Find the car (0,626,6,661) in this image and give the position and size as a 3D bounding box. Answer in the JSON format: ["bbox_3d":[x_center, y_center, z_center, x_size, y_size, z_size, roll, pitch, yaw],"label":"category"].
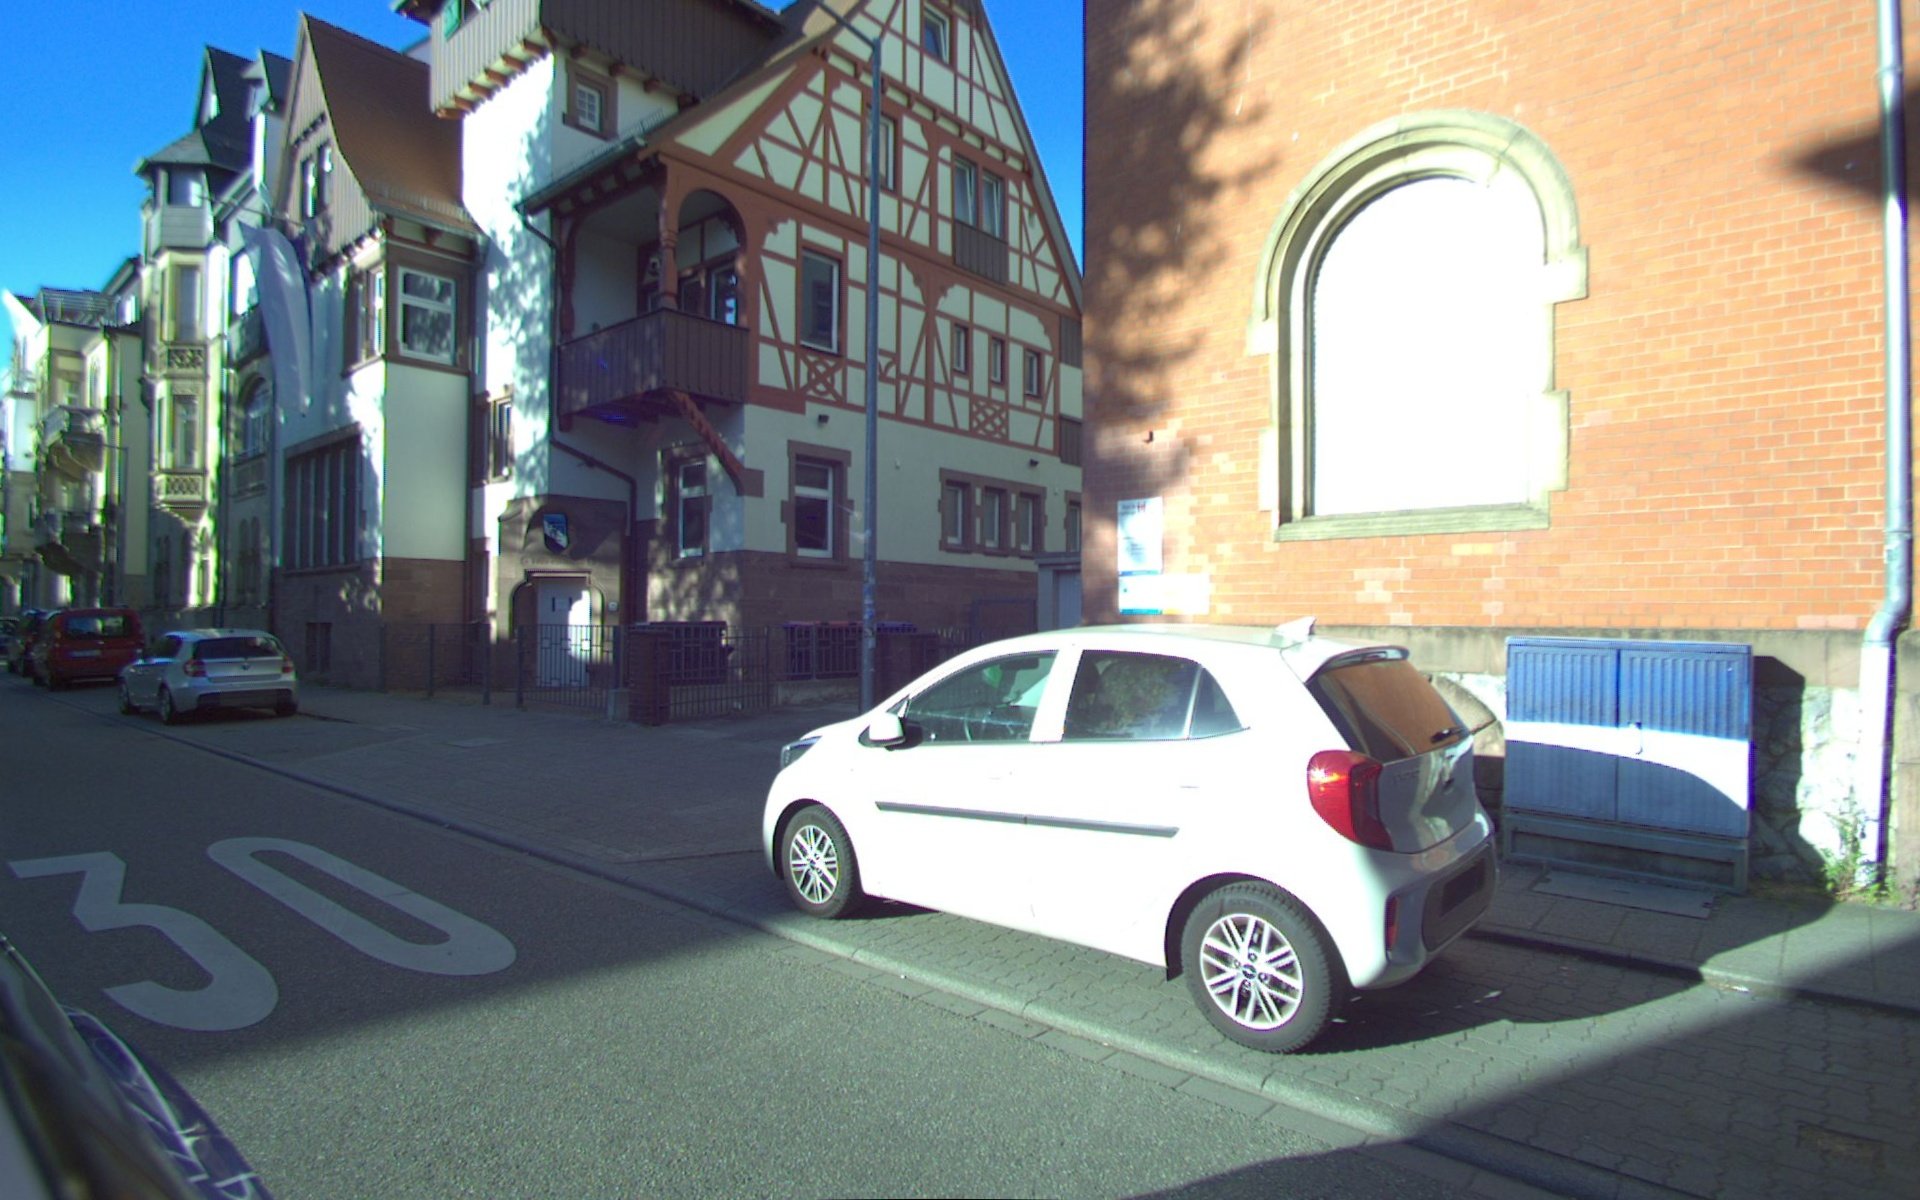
[{"bbox_3d":[-42.152,1.892,42.998,4.539,1.449,1.881,-1,1,41],"label":"car"}]

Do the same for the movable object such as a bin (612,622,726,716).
[{"bbox_3d":[-4.293,0.987,14.955,1.358,1.309,0.970,1,-2,-39],"label":"movable object such as a bin"}]

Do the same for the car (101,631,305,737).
[{"bbox_3d":[-12.333,1.261,16.413,4.099,1.477,1.726,-1,-1,39],"label":"car"}]

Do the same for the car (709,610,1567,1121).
[{"bbox_3d":[0.602,0.834,4.941,3.796,1.497,1.687,-1,0,42],"label":"car"}]

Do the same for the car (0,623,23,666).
[{"bbox_3d":[-35.580,1.645,36.986,2.860,1.520,1.666,-1,1,42],"label":"car"}]

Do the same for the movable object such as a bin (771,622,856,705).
[{"bbox_3d":[-2.434,1.029,16.932,0.685,1.327,1.368,-1,-2,34],"label":"movable object such as a bin"}]

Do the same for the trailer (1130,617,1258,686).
[{"bbox_3d":[4.386,0.966,18.910,2.370,1.228,0.774,2,-3,-26],"label":"trailer"}]

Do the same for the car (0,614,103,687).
[{"bbox_3d":[-25.581,1.357,28.372,4.540,1.866,1.751,-2,-1,42],"label":"car"}]

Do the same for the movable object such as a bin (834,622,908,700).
[{"bbox_3d":[-1.564,1.043,17.855,0.631,1.320,1.188,-2,-2,43],"label":"movable object such as a bin"}]

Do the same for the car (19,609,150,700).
[{"bbox_3d":[-20.665,1.204,23.836,4.323,1.921,1.779,-1,-1,42],"label":"car"}]
